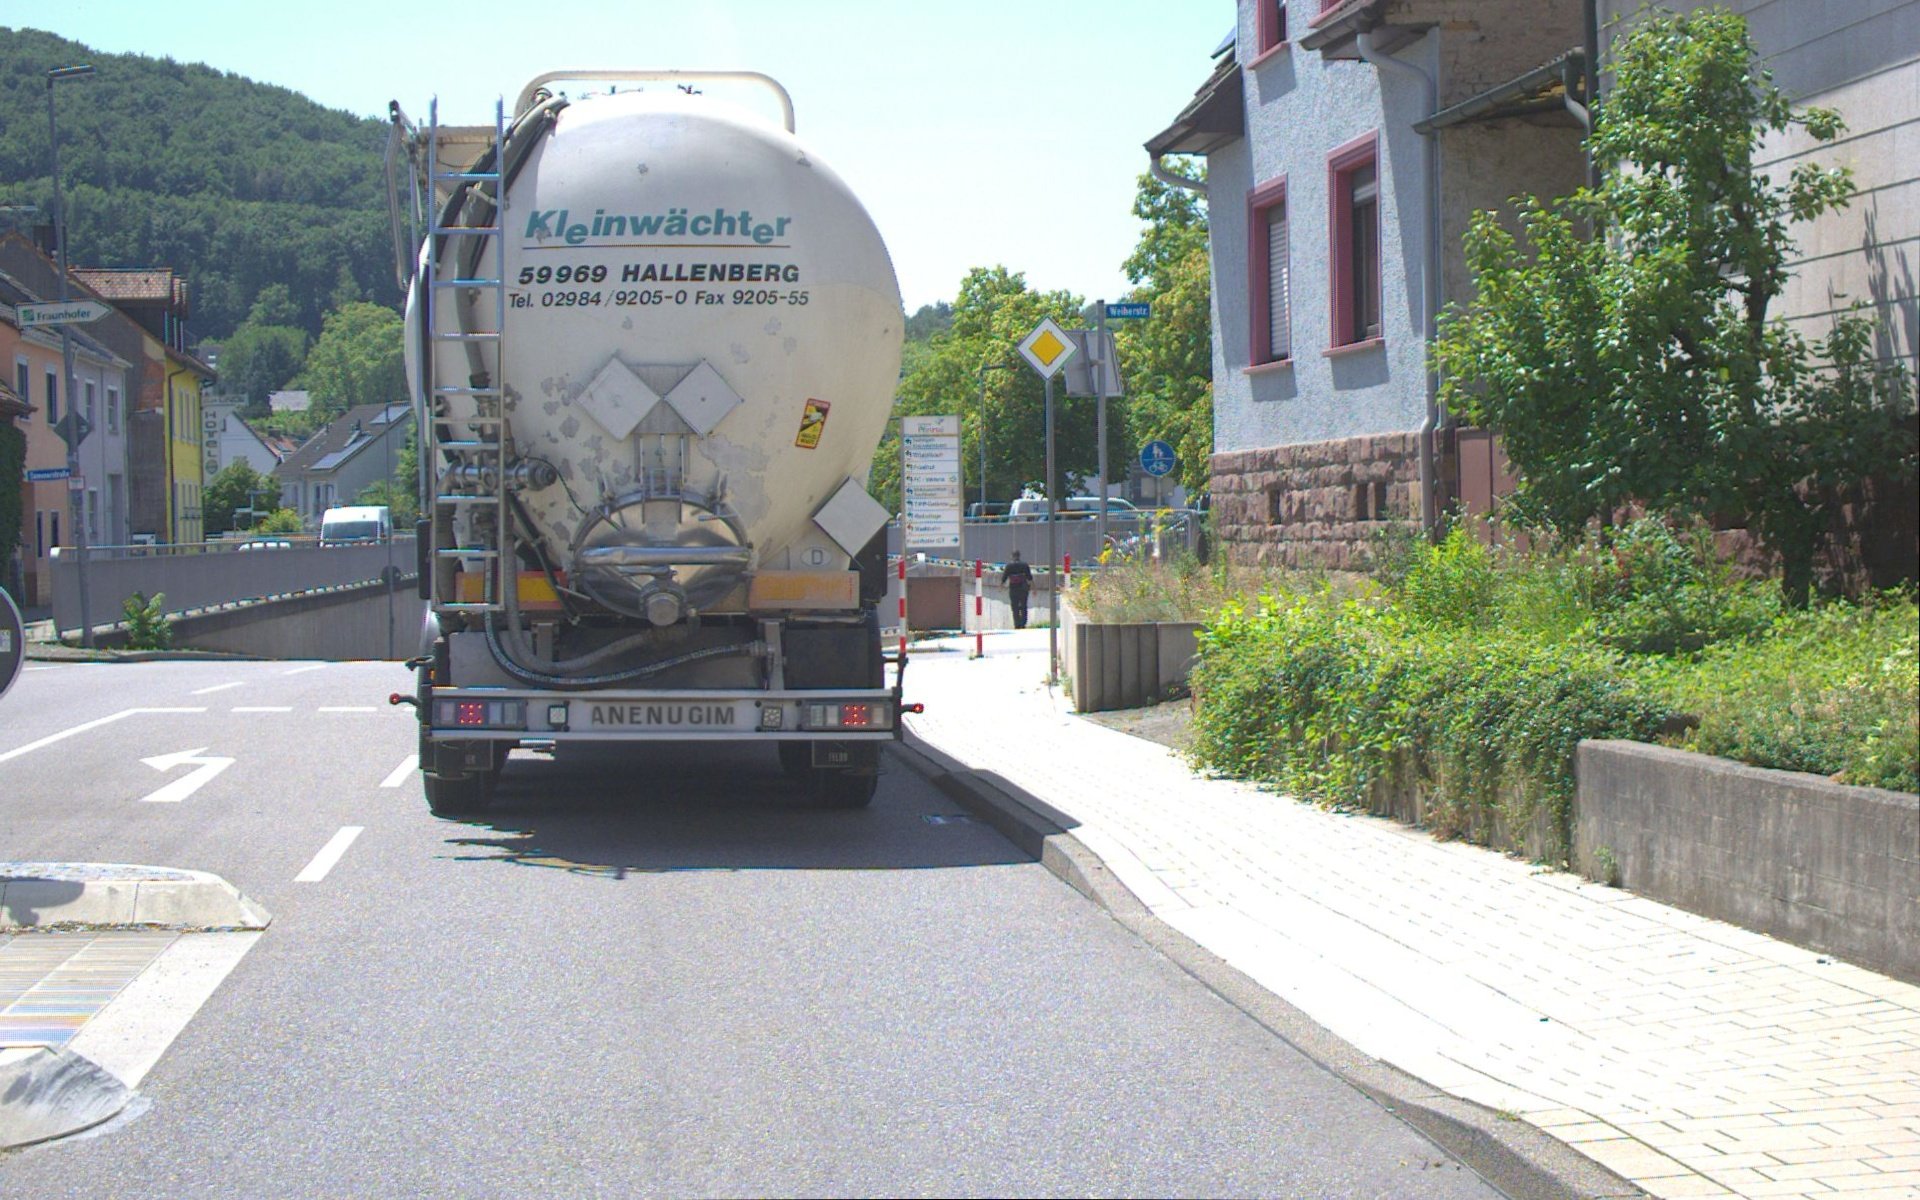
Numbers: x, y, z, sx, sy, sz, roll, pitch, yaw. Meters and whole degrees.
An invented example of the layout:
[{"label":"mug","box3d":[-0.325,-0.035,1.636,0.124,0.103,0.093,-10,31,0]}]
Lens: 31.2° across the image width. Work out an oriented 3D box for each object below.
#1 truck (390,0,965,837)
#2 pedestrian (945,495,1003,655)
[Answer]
[{"label":"truck","box3d":[-2.052,-1.001,21.909,2.749,4.043,10.892,0,1,-8]},{"label":"pedestrian","box3d":[0.151,-0.263,36.842,0.571,1.688,0.721,1,0,-3]}]
